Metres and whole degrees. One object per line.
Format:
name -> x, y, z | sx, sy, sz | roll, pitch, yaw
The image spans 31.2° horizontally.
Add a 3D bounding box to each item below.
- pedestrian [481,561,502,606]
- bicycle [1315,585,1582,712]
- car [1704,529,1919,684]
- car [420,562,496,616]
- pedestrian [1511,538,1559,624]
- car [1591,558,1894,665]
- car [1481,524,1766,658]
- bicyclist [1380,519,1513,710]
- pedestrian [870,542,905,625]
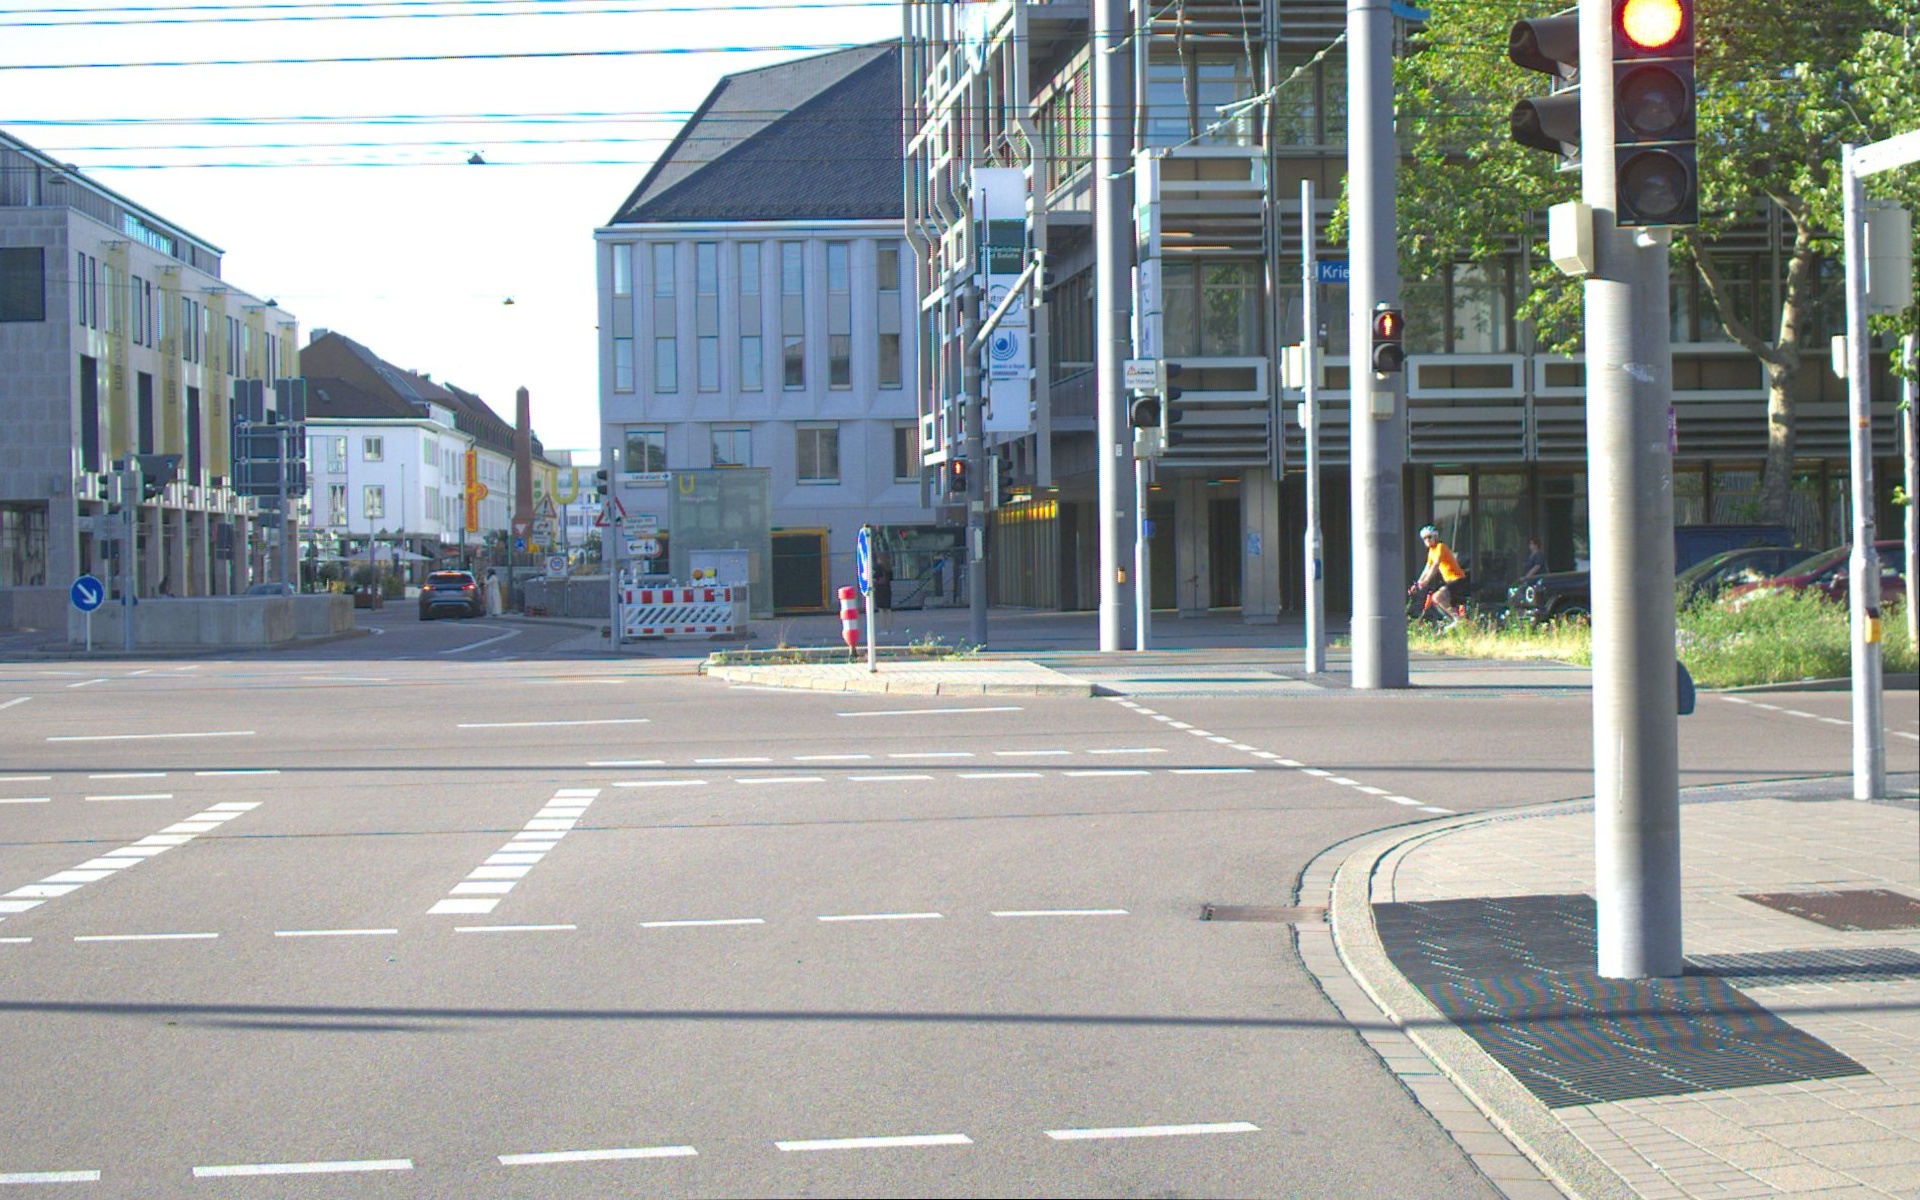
pedestrian -> -14.757, -0.522, 108.274 | 0.609, 1.406, 0.570 | -1, 1, -6
bicycle -> 6.695, 0.647, 47.148 | 3.490, 1.653, 0.932 | -1, 1, -9
car -> 12.289, 0.086, 46.411 | 3.986, 2.007, 2.000 | 1, 0, -3
car -> -15.807, -0.358, 108.423 | 2.199, 1.601, 4.327 | -1, 1, -6
pedestrian -> 11.122, -0.376, 66.517 | 0.729, 1.652, 0.651 | -1, 1, -7
car -> 11.495, 0.156, 50.662 | 3.986, 1.503, 1.868 | 0, 1, -3
car -> 10.346, -0.146, 53.779 | 3.986, 2.007, 2.000 | 1, 0, -3
bicyclist -> 6.663, 0.187, 47.141 | 1.567, 2.571, 0.932 | -1, 1, -9
pedestrian -> -1.466, -0.342, 69.646 | 0.663, 1.652, 0.755 | -1, 1, -3
